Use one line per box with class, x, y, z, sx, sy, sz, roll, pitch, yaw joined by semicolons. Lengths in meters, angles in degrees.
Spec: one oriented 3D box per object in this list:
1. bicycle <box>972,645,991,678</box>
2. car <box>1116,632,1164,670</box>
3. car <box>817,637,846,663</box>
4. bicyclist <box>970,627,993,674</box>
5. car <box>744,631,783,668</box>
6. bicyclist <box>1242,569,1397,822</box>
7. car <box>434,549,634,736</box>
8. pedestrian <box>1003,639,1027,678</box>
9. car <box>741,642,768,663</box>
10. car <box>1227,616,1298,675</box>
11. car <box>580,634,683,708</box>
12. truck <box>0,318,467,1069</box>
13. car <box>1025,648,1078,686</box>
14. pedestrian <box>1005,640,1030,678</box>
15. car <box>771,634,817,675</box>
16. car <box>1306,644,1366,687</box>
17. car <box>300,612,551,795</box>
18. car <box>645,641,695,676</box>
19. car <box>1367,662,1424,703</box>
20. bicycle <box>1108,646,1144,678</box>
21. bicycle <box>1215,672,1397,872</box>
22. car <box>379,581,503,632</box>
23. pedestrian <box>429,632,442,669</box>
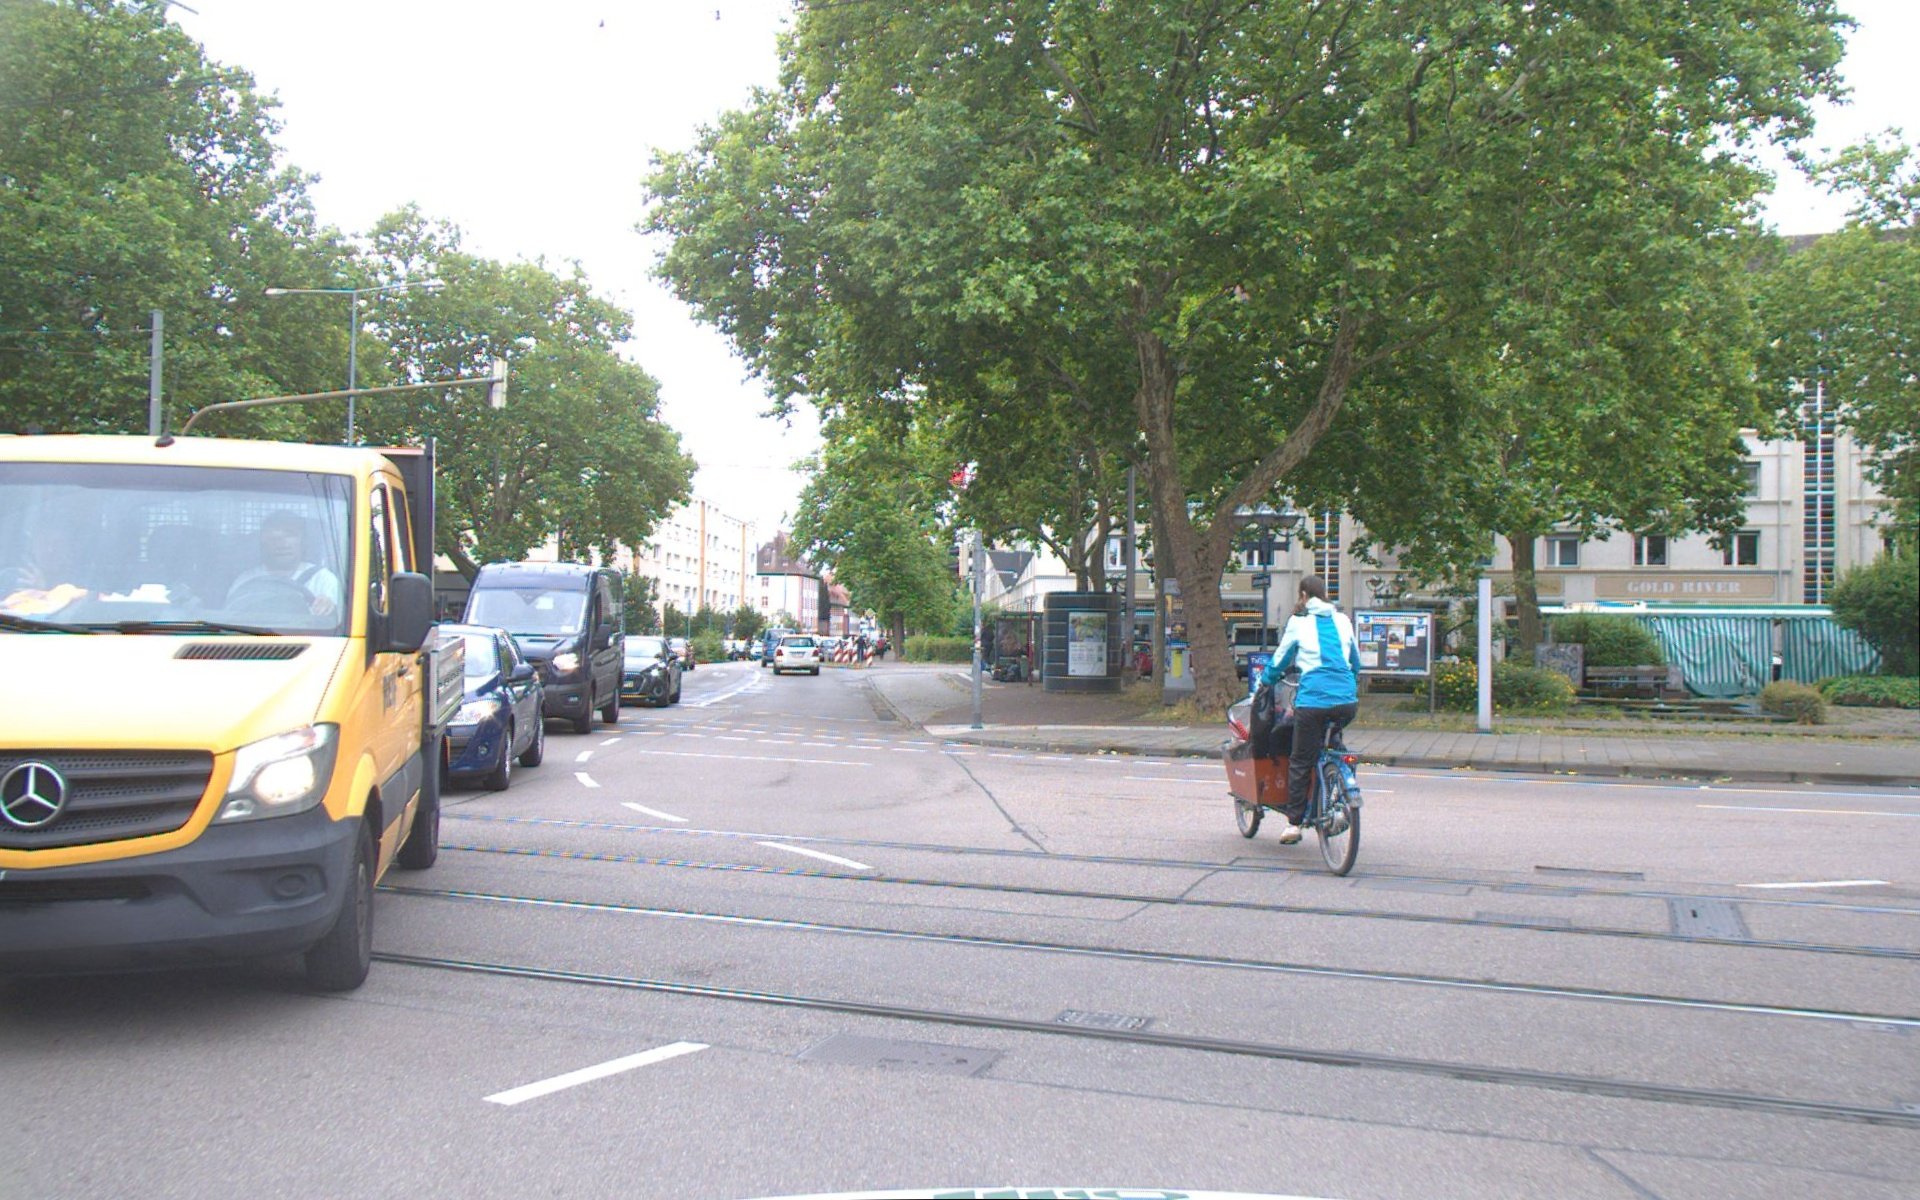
bicycle;0.821;2.357;63.764;0.409;1.264;1.923;1;-1;-8
car;7.290;2.050;66.692;1.482;1.453;4.003;0;-2;13
car;-8.281;3.191;106.645;1.780;1.620;3.996;0;-1;-5
bicyclist;0.834;1.947;64.032;0.746;1.790;0.819;1;-2;-9
car;-10.258;2.555;86.746;1.955;1.881;3.994;1;-1;-6
bicyclist;2.302;0.593;10.689;0.673;1.544;1.056;1;-1;-7
car;-6.281;0.635;25.064;2.093;2.494;5.571;1;-1;-6
pedestrian;1.996;2.121;60.328;0.802;1.396;0.762;1;-2;-5
car;-15.107;3.825;121.510;1.732;1.512;3.996;1;-1;-4
car;11.889;1.785;64.854;2.129;2.239;4.001;0;-1;19
car;-6.861;1.452;34.899;1.774;1.452;4.310;1;-1;-7
truck;-3.676;0.339;8.070;2.039;2.450;5.444;0;-1;-13
car;3.691;2.649;66.231;1.482;1.453;4.003;0;-2;13
pedestrian;2.058;2.126;59.377;0.836;1.338;0.762;1;-2;-5
car;-6.826;2.231;68.209;1.780;1.620;3.996;0;-1;-5
car;14.473;2.499;63.532;1.759;1.571;3.827;0;-1;21
car;-4.929;0.902;15.730;1.635;1.515;3.896;1;-1;-9
car;-13.291;2.664;75.939;1.817;1.478;4.163;1;-1;-5
car;16.916;3.184;64.151;1.759;1.466;3.827;0;-1;21
bicycle;6.227;2.316;61.993;0.762;1.188;2.333;0;-2;20
bicycle;2.198;1.056;10.787;0.484;1.117;2.135;1;-1;-8
car;-19.106;0.254;60.884;3.951;1.736;1.977;2;-2;-34
pedestrian;-24.242;2.343;76.483;0.508;1.710;0.508;1;-2;-22
